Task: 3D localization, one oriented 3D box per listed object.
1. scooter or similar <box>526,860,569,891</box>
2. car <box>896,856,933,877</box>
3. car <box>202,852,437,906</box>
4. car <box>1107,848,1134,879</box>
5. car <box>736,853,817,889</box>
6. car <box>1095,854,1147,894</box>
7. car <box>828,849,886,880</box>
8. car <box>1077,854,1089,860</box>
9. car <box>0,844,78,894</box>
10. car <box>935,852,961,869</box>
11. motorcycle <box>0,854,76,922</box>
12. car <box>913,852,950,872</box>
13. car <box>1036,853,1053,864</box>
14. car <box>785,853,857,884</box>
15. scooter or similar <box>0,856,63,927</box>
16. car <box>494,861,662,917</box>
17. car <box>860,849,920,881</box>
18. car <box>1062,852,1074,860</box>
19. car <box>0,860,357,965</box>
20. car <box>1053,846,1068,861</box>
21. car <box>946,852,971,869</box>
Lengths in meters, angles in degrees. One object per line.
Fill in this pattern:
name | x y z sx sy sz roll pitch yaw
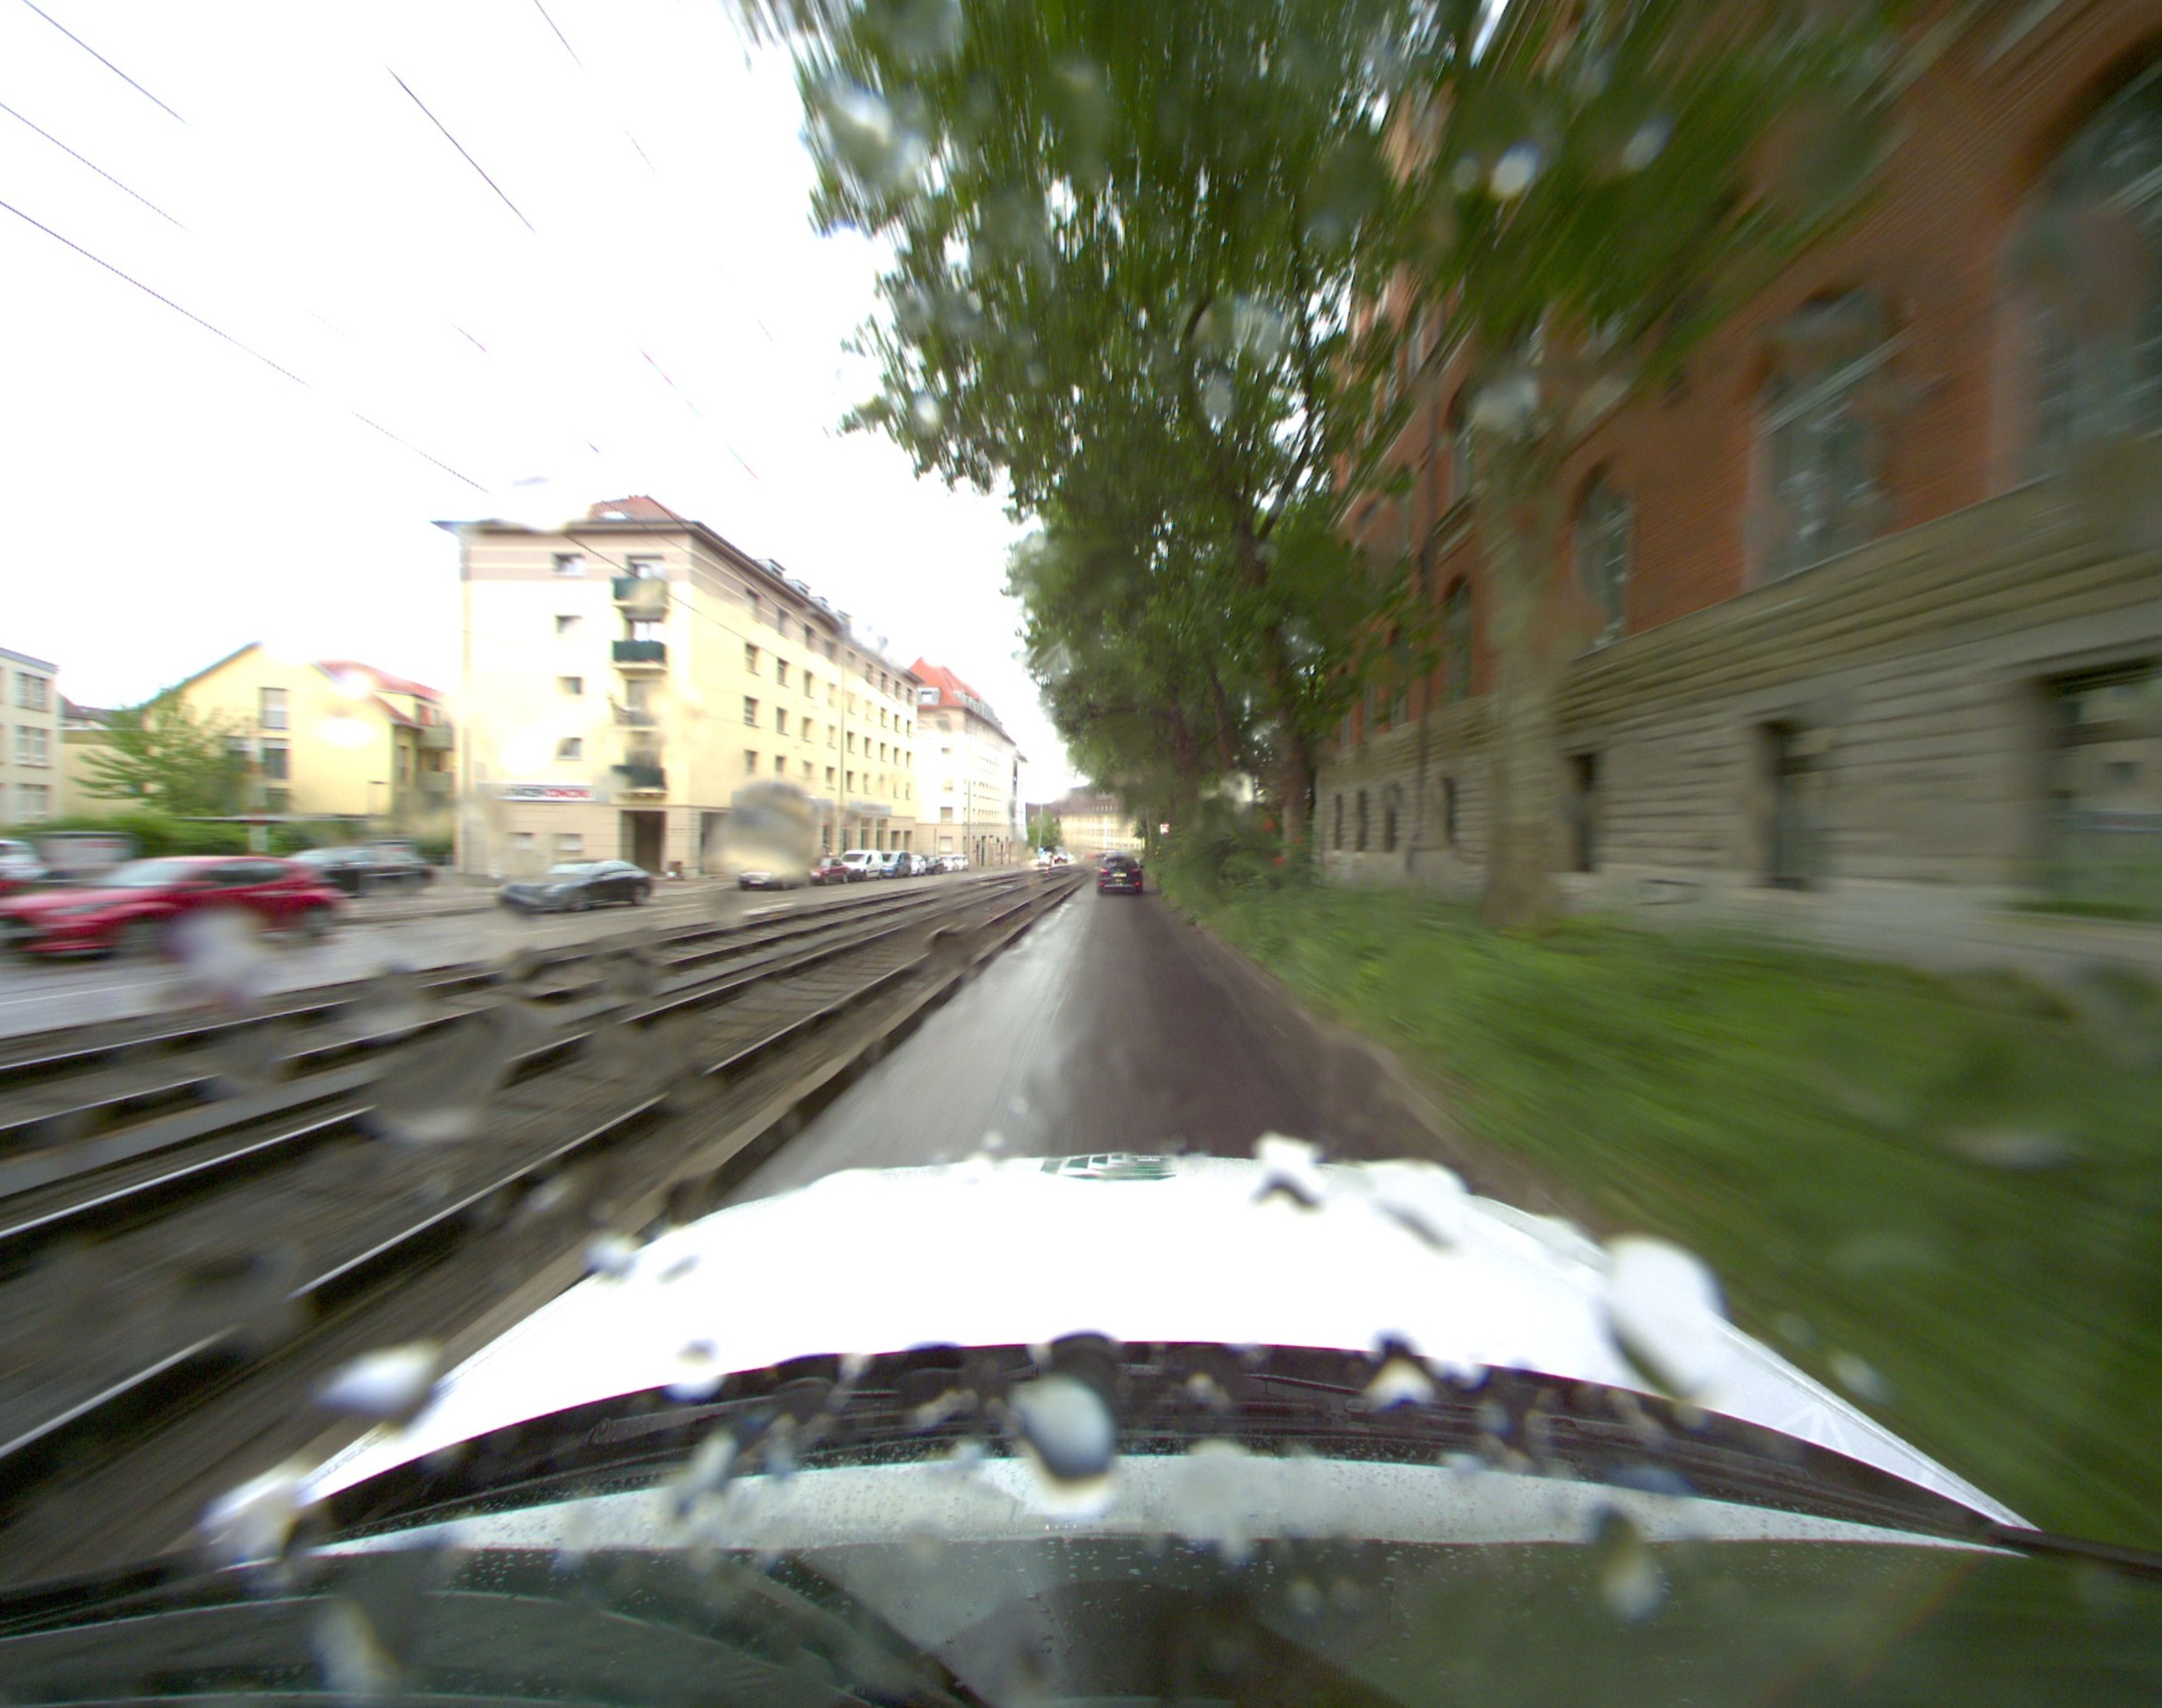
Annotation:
scooter or similar | -19.810 0.790 30.255 1.288 1.112 0.379 1 0 -4
car | -11.962 0.865 58.741 1.684 1.439 4.052 0 0 3
car | -20.684 0.619 22.430 1.859 1.303 4.490 0 0 10
car | 2.650 0.636 55.160 1.734 2.014 3.905 0 -1 1
car | -13.365 0.732 36.102 1.846 1.508 4.987 0 -1 -2
car | 1.536 0.763 32.578 1.926 1.453 4.318 1 -1 1
car | -12.942 0.590 47.282 1.859 1.717 4.464 0 -1 4
car | 0.496 0.864 230.517 2.002 1.542 3.969 -1 0 -24
car | -31.363 0.424 22.723 1.658 1.400 3.913 0 -1 9
car | -11.620 0.552 71.218 1.699 1.396 3.933 1 0 -2
motorcycle | -19.944 0.614 14.945 0.637 1.200 1.785 4 -2 2
car | -11.711 0.589 64.027 1.806 1.499 4.586 1 0 3
car | -4.885 0.624 109.689 1.704 1.462 4.285 0 0 4
car | -13.186 0.727 41.620 1.843 1.432 4.836 1 -1 3
scooter or similar | -19.146 0.653 14.013 0.617 1.200 1.904 3 1 23
car | -13.835 0.910 22.779 1.673 1.396 4.624 0 -1 2
car | -12.452 0.680 53.408 1.983 1.905 5.469 2 0 7
car | -2.369 0.371 154.998 1.872 1.486 4.859 0 1 4
car | -14.606 0.824 13.341 1.646 1.451 4.078 0 -1 4
car | -3.387 -0.026 135.648 1.985 2.452 6.004 0 -1 4
car | -11.376 0.635 75.723 1.702 1.450 3.542 2 -1 1
